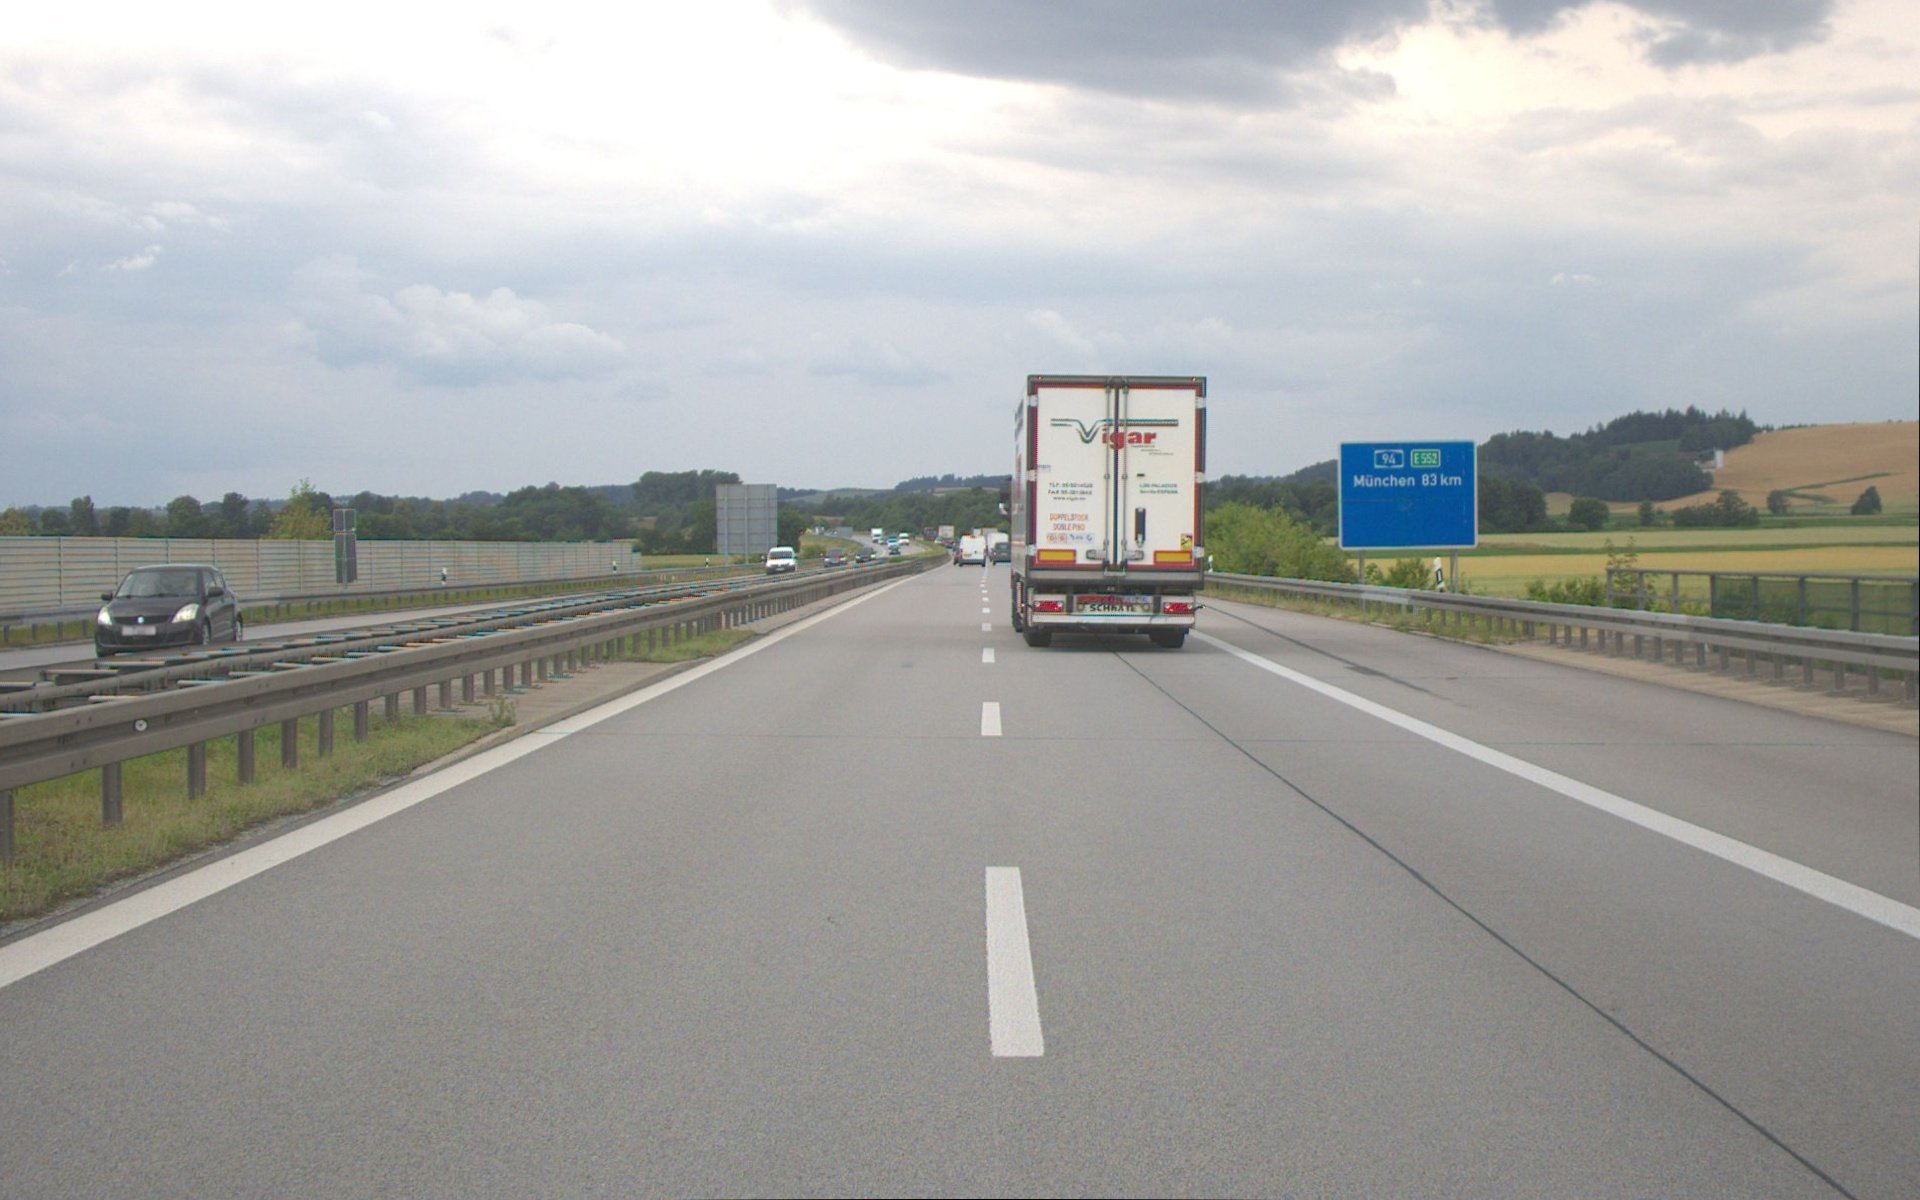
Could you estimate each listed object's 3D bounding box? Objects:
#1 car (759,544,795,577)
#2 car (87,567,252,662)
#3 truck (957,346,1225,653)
[{"bbox_3d":[-11.175,-2.420,209.893,1.755,1.736,4.914,6,2,0],"label":"car"},{"bbox_3d":[-12.534,0.203,54.735,1.670,1.381,4.000,-2,1,0],"label":"car"},{"bbox_3d":[1.872,-1.601,57.449,3.672,4.397,16.342,0,1,-1],"label":"truck"}]
